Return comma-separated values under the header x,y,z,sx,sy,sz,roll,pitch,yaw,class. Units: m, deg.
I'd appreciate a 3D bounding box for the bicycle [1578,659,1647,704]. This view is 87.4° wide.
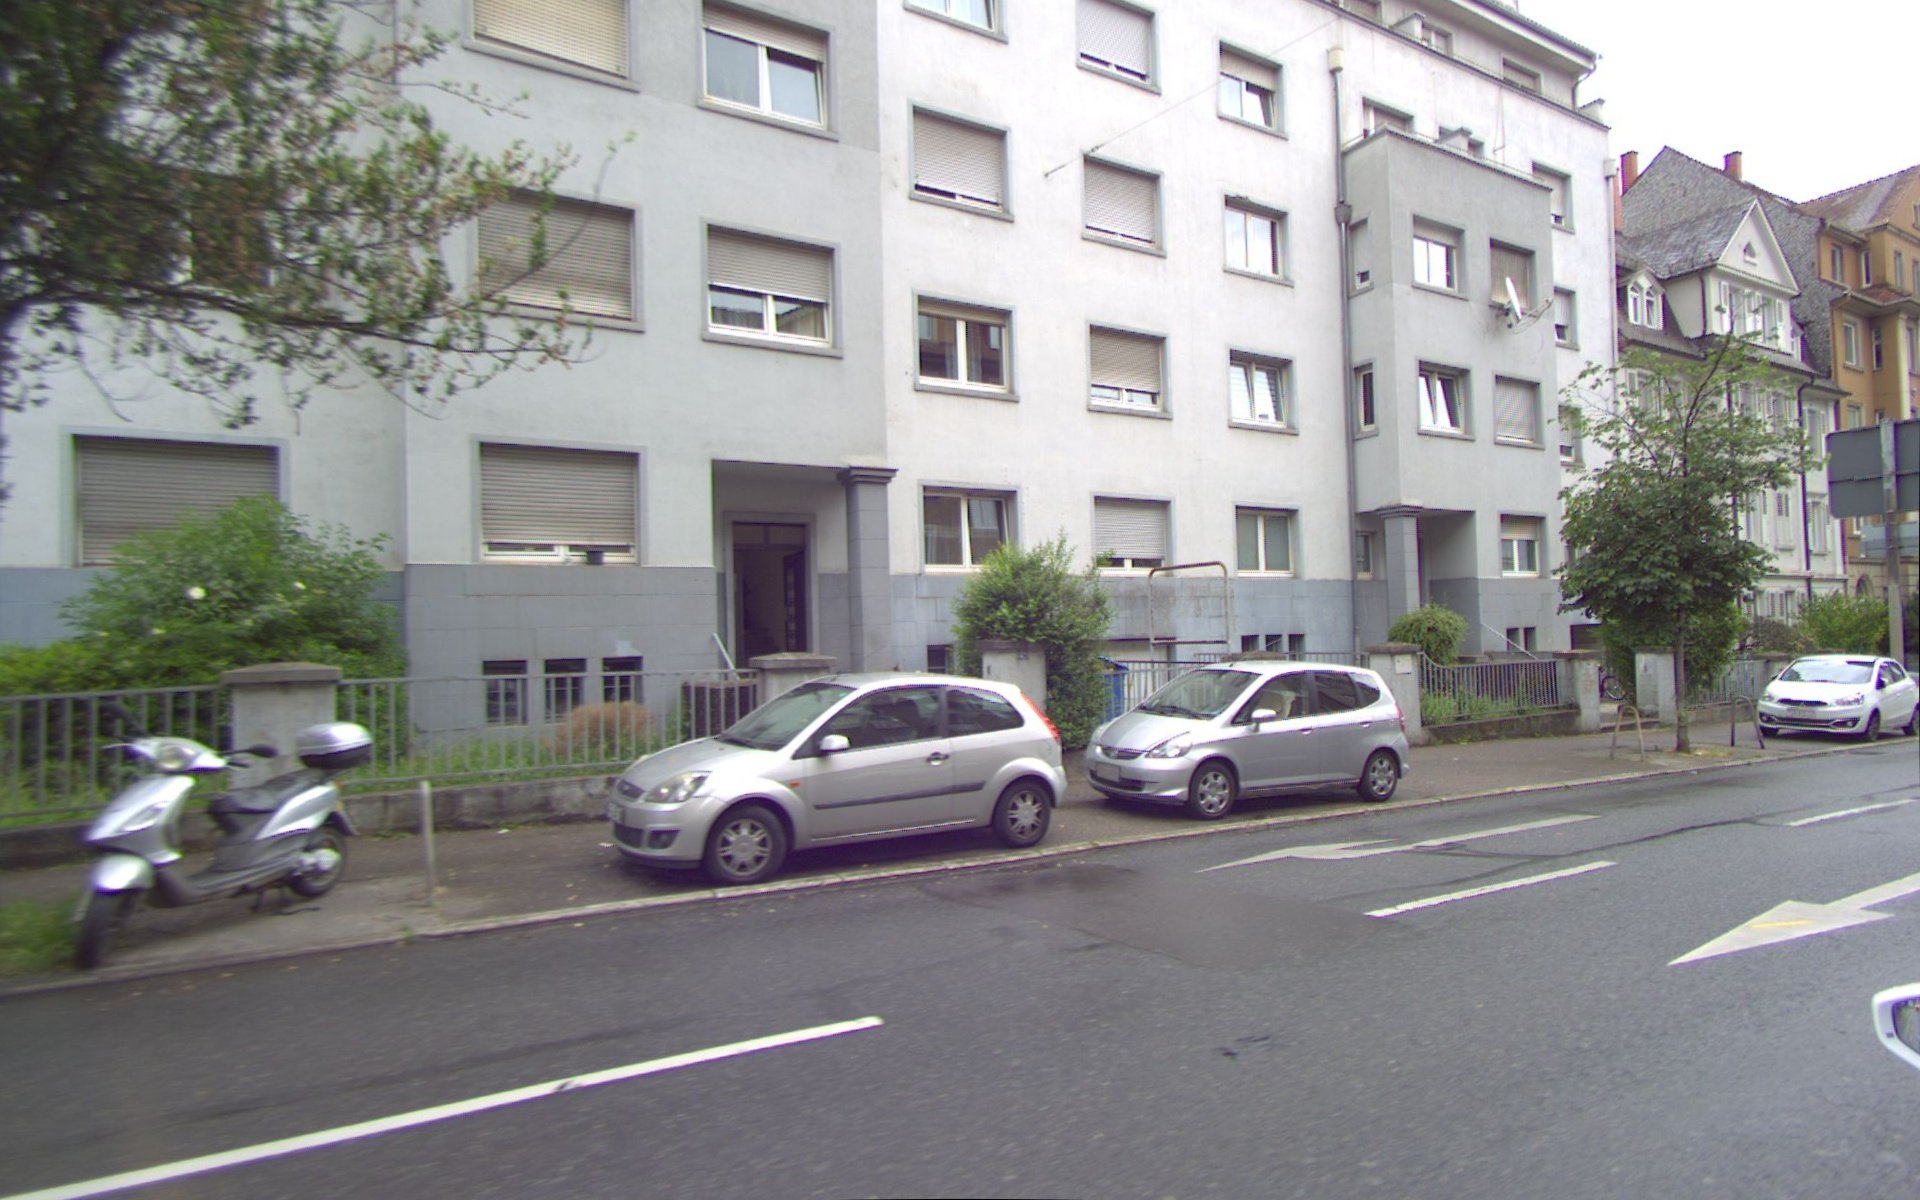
x,y,z,sx,sy,sz,roll,pitch,yaw,class
16.843,2.088,25.945,0.478,1.104,1.414,1,-3,-30,bicycle

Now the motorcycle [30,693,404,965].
x,y,z,sx,sy,sz,roll,pitch,yaw,class
-4.421,1.276,6.191,0.727,1.332,1.813,-1,-3,11,motorcycle

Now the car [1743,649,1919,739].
x,y,z,sx,sy,sz,roll,pitch,yaw,class
16.496,1.713,18.896,3.755,1.527,1.637,3,-3,-32,car

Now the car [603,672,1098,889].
x,y,z,sx,sy,sz,roll,pitch,yaw,class
-0.831,1.337,8.470,3.844,1.414,1.592,3,-3,-32,car

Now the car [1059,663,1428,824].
x,y,z,sx,sy,sz,roll,pitch,yaw,class
3.130,1.452,10.975,3.838,1.470,1.595,2,-3,-27,car
